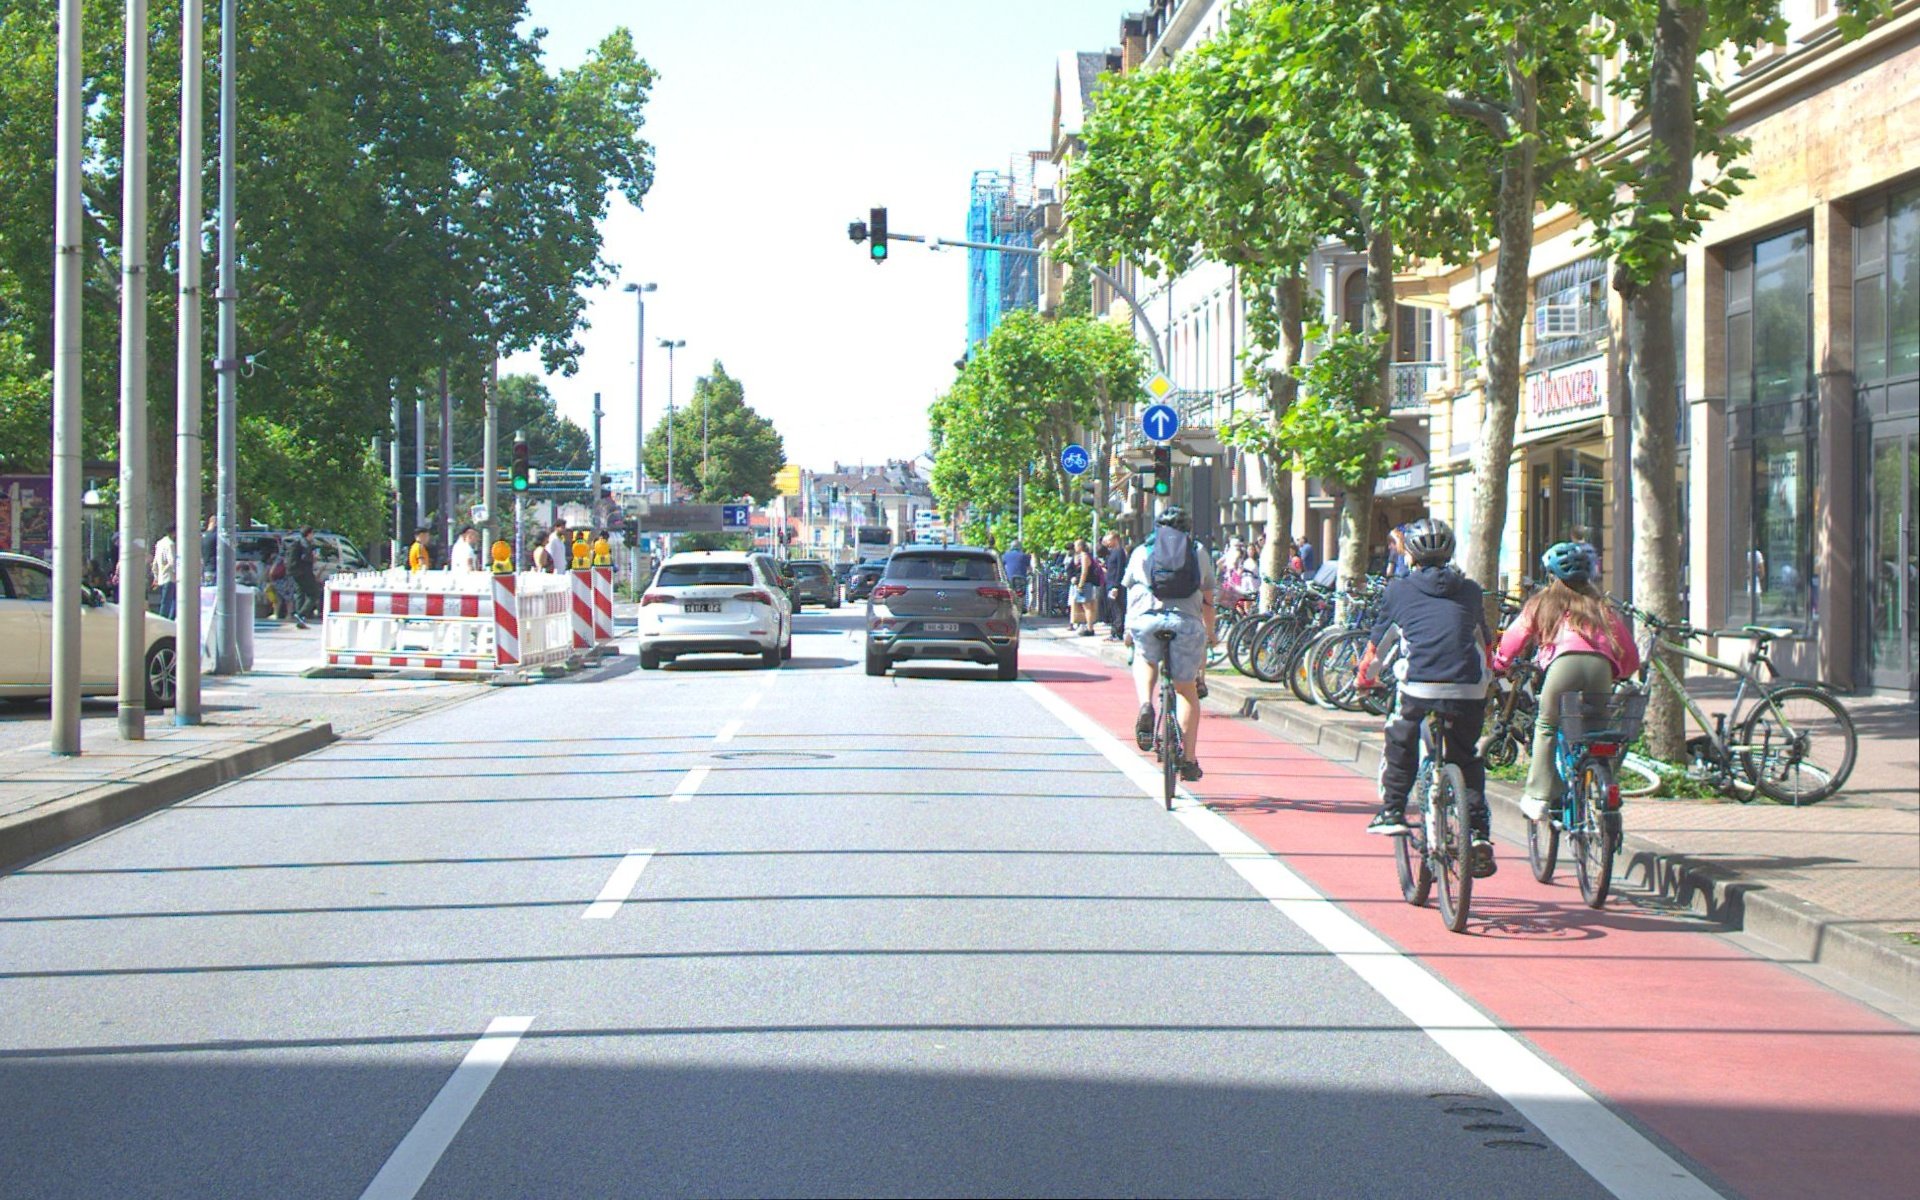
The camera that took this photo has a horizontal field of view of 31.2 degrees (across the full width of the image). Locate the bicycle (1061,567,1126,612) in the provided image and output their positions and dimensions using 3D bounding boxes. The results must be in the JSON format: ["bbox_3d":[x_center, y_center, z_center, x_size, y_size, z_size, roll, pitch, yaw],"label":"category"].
[{"bbox_3d":[2.976,-0.240,76.823,1.420,0.976,0.445,-1,1,-1],"label":"bicycle"}]

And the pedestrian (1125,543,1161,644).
[{"bbox_3d":[2.962,-0.104,55.585,0.549,1.625,0.589,-1,0,2],"label":"pedestrian"}]

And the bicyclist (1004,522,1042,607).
[{"bbox_3d":[1.146,-0.654,62.825,0.647,1.545,0.817,1,1,-2],"label":"bicyclist"}]

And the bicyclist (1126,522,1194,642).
[{"bbox_3d":[3.045,-0.276,52.474,0.573,1.791,0.857,-2,1,-36],"label":"bicyclist"}]

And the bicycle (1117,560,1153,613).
[{"bbox_3d":[3.859,-0.303,75.788,0.400,1.110,1.424,0,2,19],"label":"bicycle"}]

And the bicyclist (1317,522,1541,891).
[{"bbox_3d":[1.896,0.417,13.980,0.698,1.436,0.791,2,1,-5],"label":"bicyclist"}]

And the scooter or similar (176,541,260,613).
[{"bbox_3d":[-14.795,-0.462,68.551,1.278,1.416,1.037,1,0,29],"label":"scooter or similar"}]

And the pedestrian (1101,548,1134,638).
[{"bbox_3d":[2.660,-0.119,57.970,0.522,1.516,0.641,-1,0,2],"label":"pedestrian"}]

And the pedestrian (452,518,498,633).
[{"bbox_3d":[-7.403,-0.377,52.478,0.429,1.734,0.606,2,0,-32],"label":"pedestrian"}]

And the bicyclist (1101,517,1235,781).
[{"bbox_3d":[1.190,0.264,19.860,0.630,1.476,1.198,1,1,-2],"label":"bicyclist"}]

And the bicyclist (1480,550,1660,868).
[{"bbox_3d":[2.661,0.462,15.047,0.600,1.353,0.721,1,1,-4],"label":"bicyclist"}]

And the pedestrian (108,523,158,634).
[{"bbox_3d":[-12.930,-0.341,53.759,0.584,1.716,0.789,1,1,0],"label":"pedestrian"}]

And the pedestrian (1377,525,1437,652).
[{"bbox_3d":[6.395,-0.157,49.198,0.657,1.784,1.233,0,-1,-2],"label":"pedestrian"}]

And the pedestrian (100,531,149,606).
[{"bbox_3d":[-16.567,-0.615,68.148,0.633,1.473,0.730,1,0,20],"label":"pedestrian"}]

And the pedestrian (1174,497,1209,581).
[{"bbox_3d":[5.001,-1.316,74.343,0.675,1.785,0.612,1,0,-1],"label":"pedestrian"}]

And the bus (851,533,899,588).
[{"bbox_3d":[-5.750,-2.606,230.131,2.994,3.582,11.746,1,0,-2],"label":"bus"}]

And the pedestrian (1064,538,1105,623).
[{"bbox_3d":[2.285,-0.359,63.171,0.610,1.510,0.678,-4,0,-3],"label":"pedestrian"}]

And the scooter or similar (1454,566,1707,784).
[{"bbox_3d":[3.829,0.449,21.278,1.475,1.270,0.670,2,1,10],"label":"scooter or similar"}]

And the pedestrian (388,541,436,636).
[{"bbox_3d":[-10.552,-0.223,66.213,0.633,1.804,0.730,1,0,20],"label":"pedestrian"}]

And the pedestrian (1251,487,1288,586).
[{"bbox_3d":[5.126,-1.048,56.968,0.549,1.634,0.589,-1,0,2],"label":"pedestrian"}]

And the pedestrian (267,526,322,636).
[{"bbox_3d":[-11.277,-0.320,58.286,0.633,1.852,0.686,1,0,20],"label":"pedestrian"}]

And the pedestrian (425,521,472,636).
[{"bbox_3d":[-7.977,-0.336,53.616,0.539,1.773,0.606,2,0,4],"label":"pedestrian"}]

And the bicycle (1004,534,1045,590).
[{"bbox_3d":[1.168,-0.701,62.651,0.647,0.994,2.031,1,1,-2],"label":"bicycle"}]

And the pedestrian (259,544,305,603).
[{"bbox_3d":[-13.364,-0.523,67.774,0.633,1.140,0.664,1,0,20],"label":"pedestrian"}]

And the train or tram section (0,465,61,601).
[{"bbox_3d":[-30.100,-1.803,88.463,2.618,3.664,15.517,1,1,34],"label":"train or tram section"}]

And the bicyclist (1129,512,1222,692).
[{"bbox_3d":[1.968,0.009,31.522,0.774,1.629,0.851,0,1,-1],"label":"bicyclist"}]

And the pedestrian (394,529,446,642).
[{"bbox_3d":[-8.297,-0.224,52.837,0.539,1.712,0.606,2,0,-32],"label":"pedestrian"}]

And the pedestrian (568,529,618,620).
[{"bbox_3d":[-6.476,-0.451,60.629,0.633,1.590,0.686,1,0,20],"label":"pedestrian"}]

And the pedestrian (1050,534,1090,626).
[{"bbox_3d":[2.110,-0.388,66.124,0.610,1.733,0.678,-4,0,-3],"label":"pedestrian"}]

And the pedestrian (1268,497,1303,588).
[{"bbox_3d":[5.780,-1.016,61.049,0.522,1.603,0.641,-1,0,-1],"label":"pedestrian"}]

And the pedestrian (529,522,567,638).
[{"bbox_3d":[-6.828,-0.336,56.985,0.531,1.912,0.560,1,0,0],"label":"pedestrian"}]

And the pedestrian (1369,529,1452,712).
[{"bbox_3d":[4.010,0.173,30.652,0.615,1.607,0.745,1,1,0],"label":"pedestrian"}]
